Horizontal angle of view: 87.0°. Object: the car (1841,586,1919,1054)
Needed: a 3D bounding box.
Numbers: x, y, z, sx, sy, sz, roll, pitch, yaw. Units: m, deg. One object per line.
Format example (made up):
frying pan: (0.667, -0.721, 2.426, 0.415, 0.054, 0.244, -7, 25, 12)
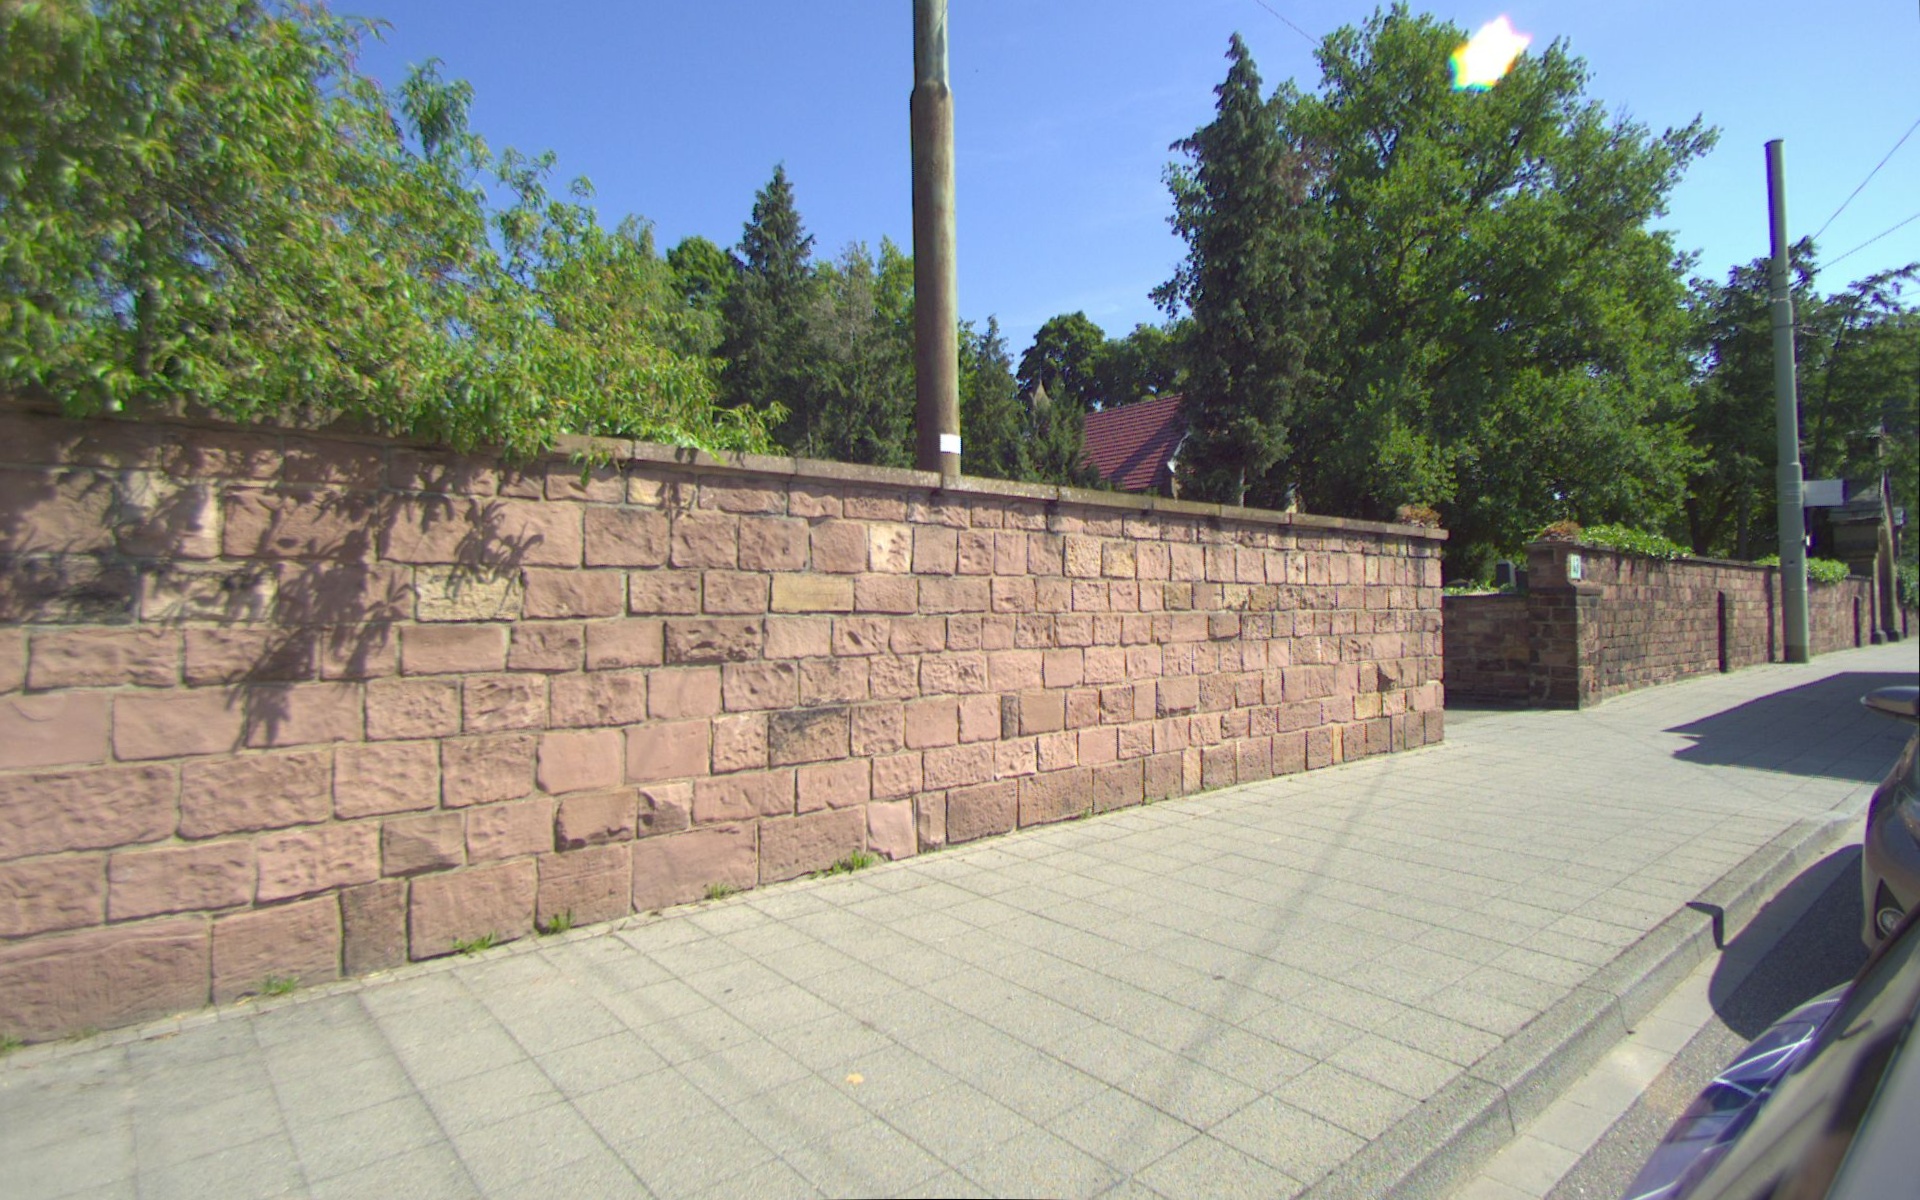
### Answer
car: (5.075, 0.672, 4.049, 4.384, 1.451, 1.741, 0, 0, -41)
